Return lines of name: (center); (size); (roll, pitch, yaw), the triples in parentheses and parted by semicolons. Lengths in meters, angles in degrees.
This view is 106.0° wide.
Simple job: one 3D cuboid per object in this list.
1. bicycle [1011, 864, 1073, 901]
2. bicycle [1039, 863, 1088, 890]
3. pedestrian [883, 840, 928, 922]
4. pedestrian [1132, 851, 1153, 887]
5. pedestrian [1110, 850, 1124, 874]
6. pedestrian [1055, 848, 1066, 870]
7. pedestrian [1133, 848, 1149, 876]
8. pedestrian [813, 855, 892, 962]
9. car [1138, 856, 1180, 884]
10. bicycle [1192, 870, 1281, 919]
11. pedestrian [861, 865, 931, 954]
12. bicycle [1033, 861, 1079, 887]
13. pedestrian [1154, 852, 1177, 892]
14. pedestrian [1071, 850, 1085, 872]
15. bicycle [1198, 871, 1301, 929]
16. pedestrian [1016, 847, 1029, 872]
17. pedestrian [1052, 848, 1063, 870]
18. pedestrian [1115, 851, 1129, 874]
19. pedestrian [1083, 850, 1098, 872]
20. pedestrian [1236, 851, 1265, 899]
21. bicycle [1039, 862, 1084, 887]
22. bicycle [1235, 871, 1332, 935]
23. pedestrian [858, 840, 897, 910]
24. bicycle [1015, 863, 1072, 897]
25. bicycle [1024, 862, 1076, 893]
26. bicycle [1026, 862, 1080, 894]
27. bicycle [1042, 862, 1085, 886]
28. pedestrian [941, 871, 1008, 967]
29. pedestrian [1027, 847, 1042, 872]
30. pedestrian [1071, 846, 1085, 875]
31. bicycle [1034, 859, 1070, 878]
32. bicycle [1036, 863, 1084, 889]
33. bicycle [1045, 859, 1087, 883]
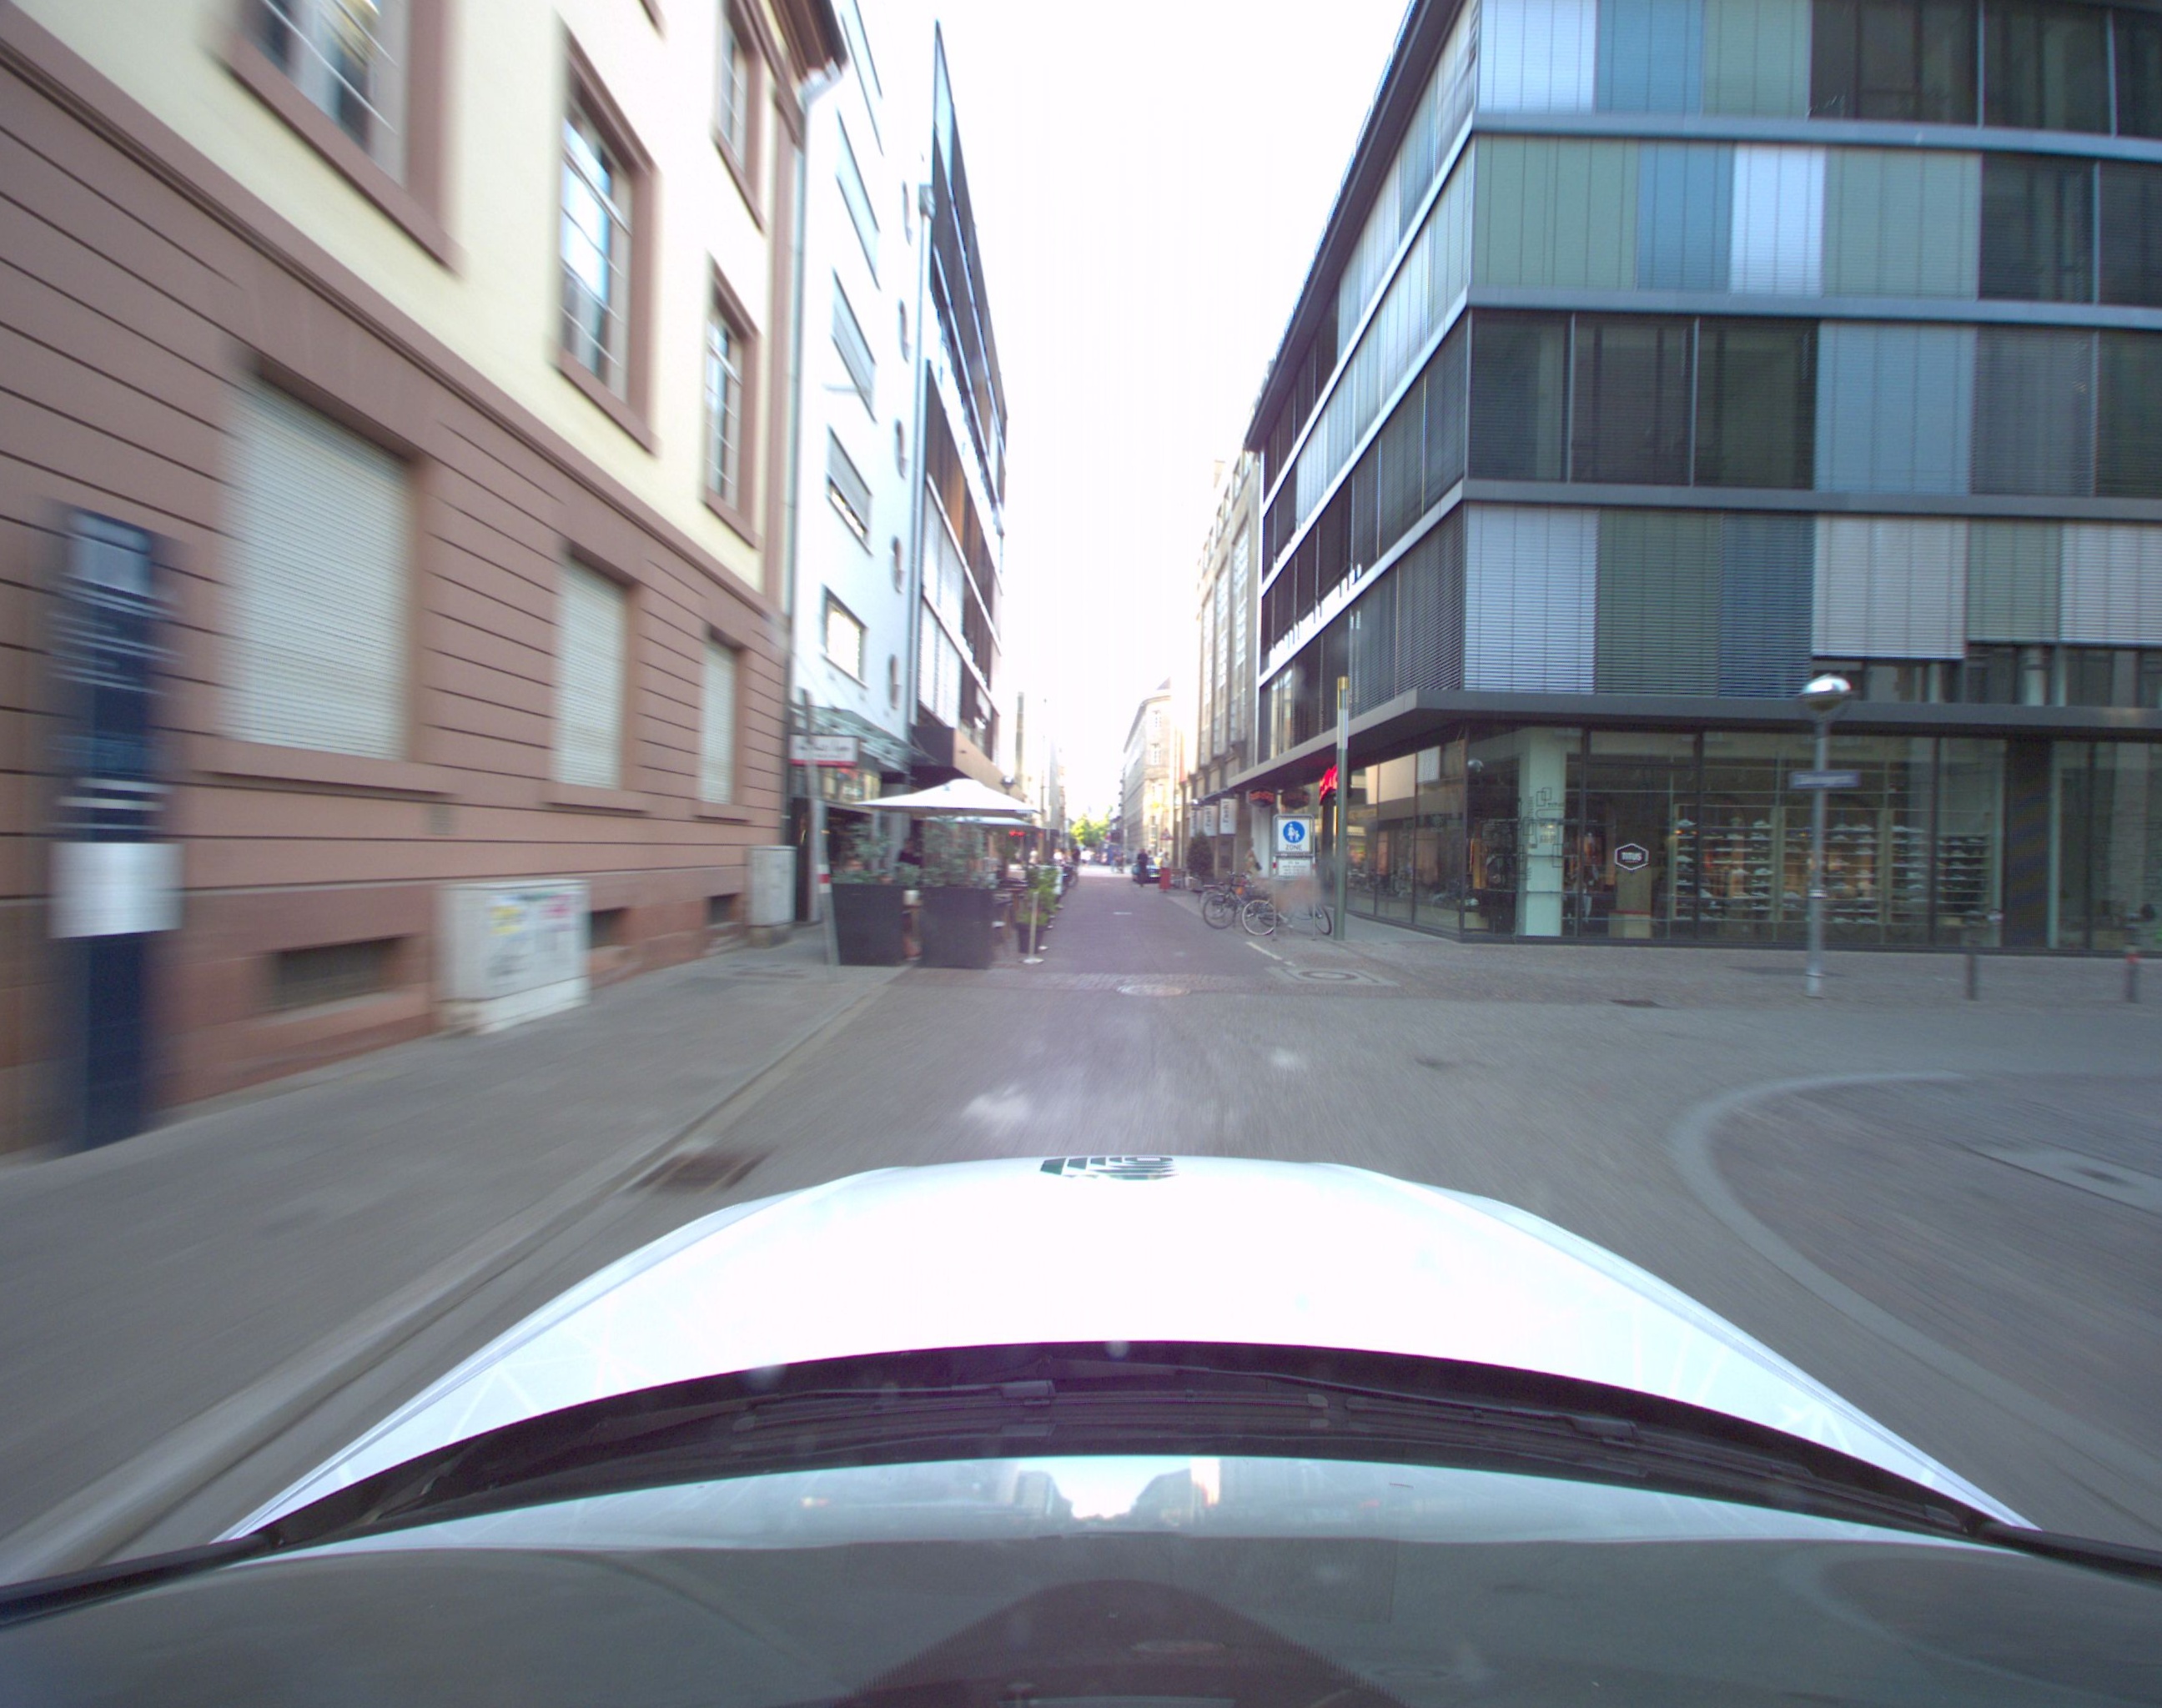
bicycle: (-1.259, 0.911, 26.427); (1.941, 1.074, 0.467); (3, 0, -1)
bicycle: (-0.733, 0.938, 34.645); (2.041, 1.016, 0.467); (3, 0, -1)
pedestrian: (-3.591, 0.540, 16.708); (0.789, 1.648, 0.724); (1, 0, -6)
pedestrian: (2.892, 0.690, 38.209); (0.896, 1.661, 0.930); (1, 0, 1)
pedestrian: (2.606, 0.577, 59.274); (0.902, 1.661, 0.792); (1, 0, -3)
pedestrian: (-1.710, 0.414, 67.482); (0.901, 1.859, 0.835); (1, 0, 0)
pedestrian: (3.953, 0.523, 53.639); (0.902, 1.859, 0.835); (1, 0, -1)
pedestrian: (-2.988, 0.693, 10.713); (0.788, 1.331, 0.673); (3, 0, -2)
car: (4.145, 0.840, 43.766); (1.750, 1.441, 3.925); (0, 0, -2)
bicycle: (3.697, 0.960, 19.395); (2.028, 1.121, 0.467); (-1, 0, -1)
pedestrian: (-2.606, 0.775, 11.541); (0.788, 1.183, 0.673); (3, 0, -2)
bicycle: (-1.146, 0.911, 37.291); (2.041, 1.049, 0.467); (3, 0, -1)
pedestrian: (3.345, 0.698, 32.190); (0.794, 1.565, 0.859); (1, 0, 1)
pedestrian: (-0.236, 0.542, 65.567); (0.855, 1.733, 0.937); (1, 0, 15)
bicycle: (3.438, 0.931, 16.706); (2.003, 1.121, 0.467); (-1, 0, -1)
pedestrian: (-4.328, 0.398, 60.449); (0.901, 1.859, 0.835); (1, 0, 0)
pedestrian: (-1.961, 0.412, 68.292); (0.901, 1.859, 0.835); (1, 0, 0)
pedestrian: (2.948, 0.606, 58.485); (0.902, 1.661, 0.792); (1, 0, -3)
pedestrian: (0.776, 0.548, 65.336); (1.002, 1.733, 0.985); (1, 0, 15)
pedestrian: (5.579, 0.677, 26.881); (0.794, 1.565, 0.859); (1, 0, 2)
bicycle: (-0.919, 0.965, 38.579); (2.041, 1.049, 0.467); (3, 0, -1)
bicycle: (3.769, 0.911, 15.194); (1.692, 1.136, 0.467); (-1, 0, -1)
pedestrian: (-4.959, 0.500, 19.795); (0.858, 1.659, 0.795); (1, 0, -17)
bicycle: (-1.318, 0.911, 28.661); (1.941, 1.074, 0.467); (3, 0, -1)
bicycle: (-1.199, 0.911, 31.447); (1.941, 1.074, 0.467); (3, 0, -1)
bicycle: (-1.030, 0.888, 30.386); (1.941, 1.074, 0.467); (3, 0, -1)
bicycle: (-0.845, 0.967, 40.056); (2.041, 1.049, 0.467); (3, 0, -1)
pedestrian: (-1.385, 0.840, 10.722); (0.789, 1.183, 0.672); (3, 0, -6)
pedestrian: (-3.509, 0.403, 61.040); (1.022, 1.859, 0.906); (1, 0, 0)
pedestrian: (-0.200, 0.421, 51.960); (0.831, 1.859, 0.907); (1, 0, -1)
bicycle: (-1.706, 0.854, 48.051); (2.041, 1.013, 0.467); (3, 0, -1)
bicycle: (-0.909, 0.968, 35.771); (2.041, 1.016, 0.467); (3, 0, -1)
bicycle: (-0.764, 0.866, 41.122); (2.041, 1.095, 0.467); (3, 0, -1)
